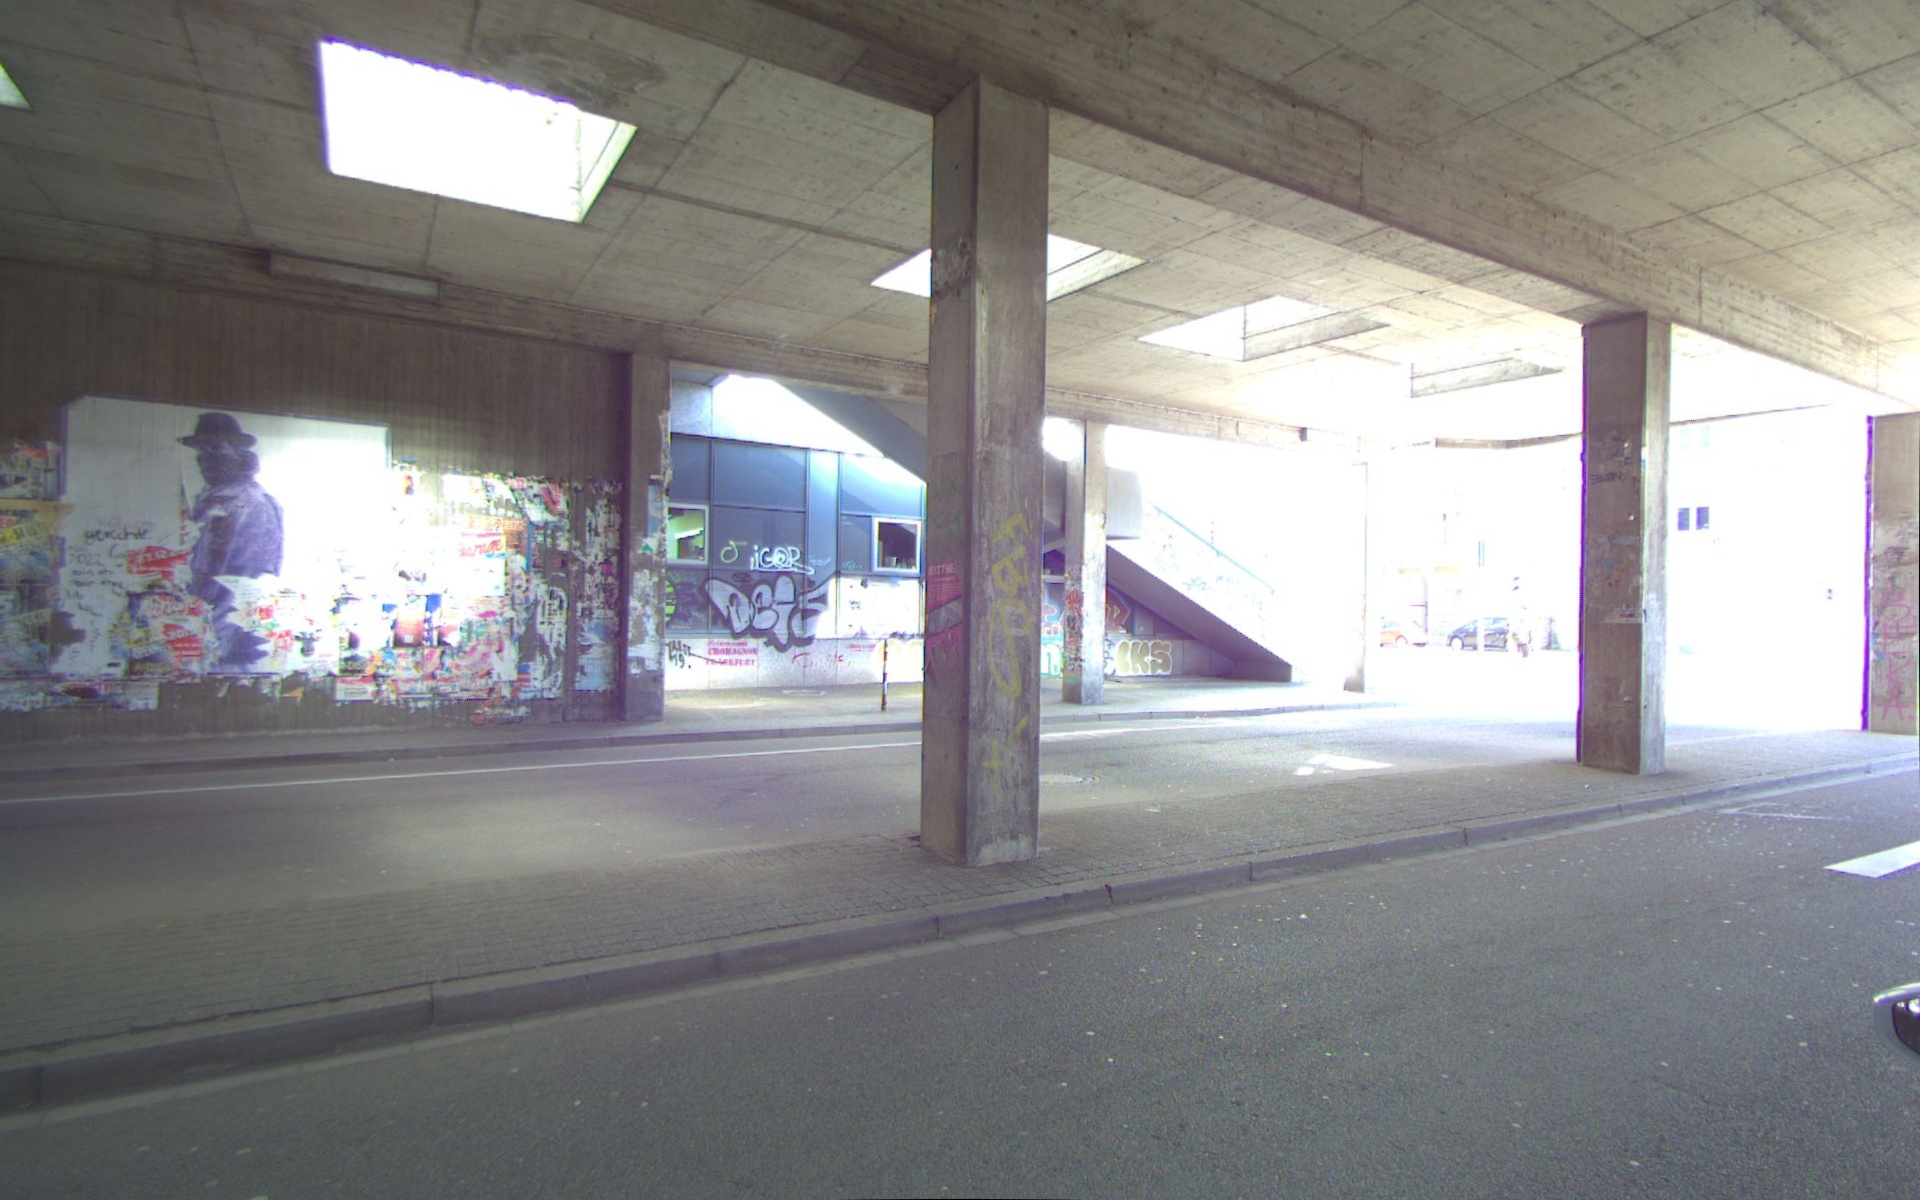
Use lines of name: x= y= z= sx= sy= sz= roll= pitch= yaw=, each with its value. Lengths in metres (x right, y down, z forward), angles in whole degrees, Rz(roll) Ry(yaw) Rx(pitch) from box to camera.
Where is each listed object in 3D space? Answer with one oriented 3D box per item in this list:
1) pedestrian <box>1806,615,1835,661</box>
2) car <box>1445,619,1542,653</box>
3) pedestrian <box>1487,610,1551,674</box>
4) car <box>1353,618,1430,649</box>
pedestrian: x=32.911 y=1.454 z=38.421 sx=0.619 sy=1.727 sz=0.715 roll=2 pitch=0 yaw=-38
car: x=25.356 y=1.683 z=47.842 sx=1.732 sy=1.528 sz=3.735 roll=1 pitch=-1 yaw=-31
pedestrian: x=15.756 y=1.165 z=28.342 sx=1.123 sy=1.760 sz=1.111 roll=1 pitch=-1 yaw=-17
car: x=22.478 y=1.734 z=52.441 sx=1.543 sy=1.526 sz=3.518 roll=1 pitch=-1 yaw=-29
